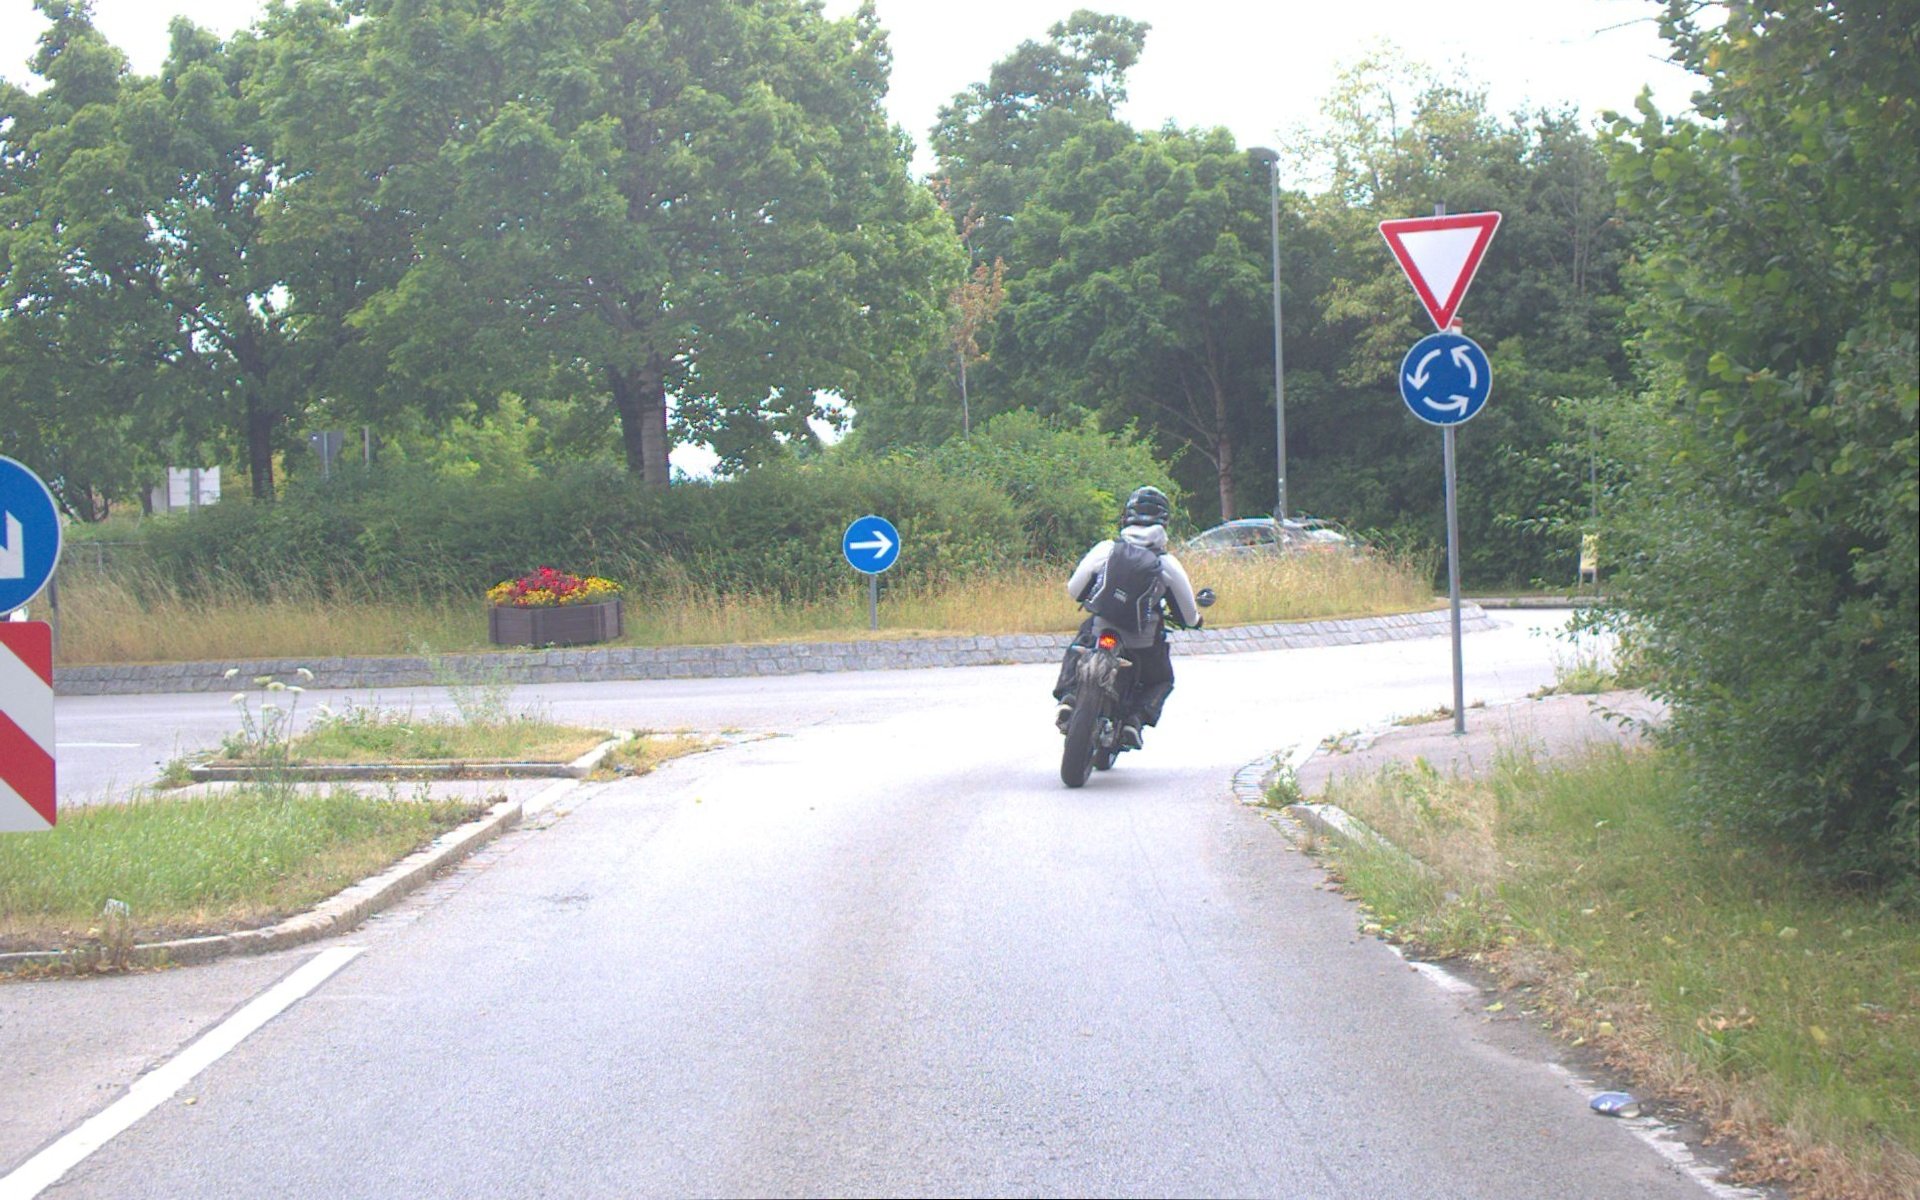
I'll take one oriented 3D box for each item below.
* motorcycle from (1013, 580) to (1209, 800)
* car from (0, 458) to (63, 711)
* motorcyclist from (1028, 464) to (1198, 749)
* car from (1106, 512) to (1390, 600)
[{"bbox_3d":[0.923,0.491,20.238,0.897,1.154,2.620,-1,1,8],"label":"motorcycle"},{"bbox_3d":[-11.393,-0.130,35.058,2.163,2.443,5.440,-3,2,-40],"label":"car"},{"bbox_3d":[0.917,0.026,20.293,0.861,1.618,1.190,-1,1,8],"label":"motorcyclist"},{"bbox_3d":[4.574,-0.700,54.692,3.994,1.251,1.996,-1,2,34],"label":"car"}]
